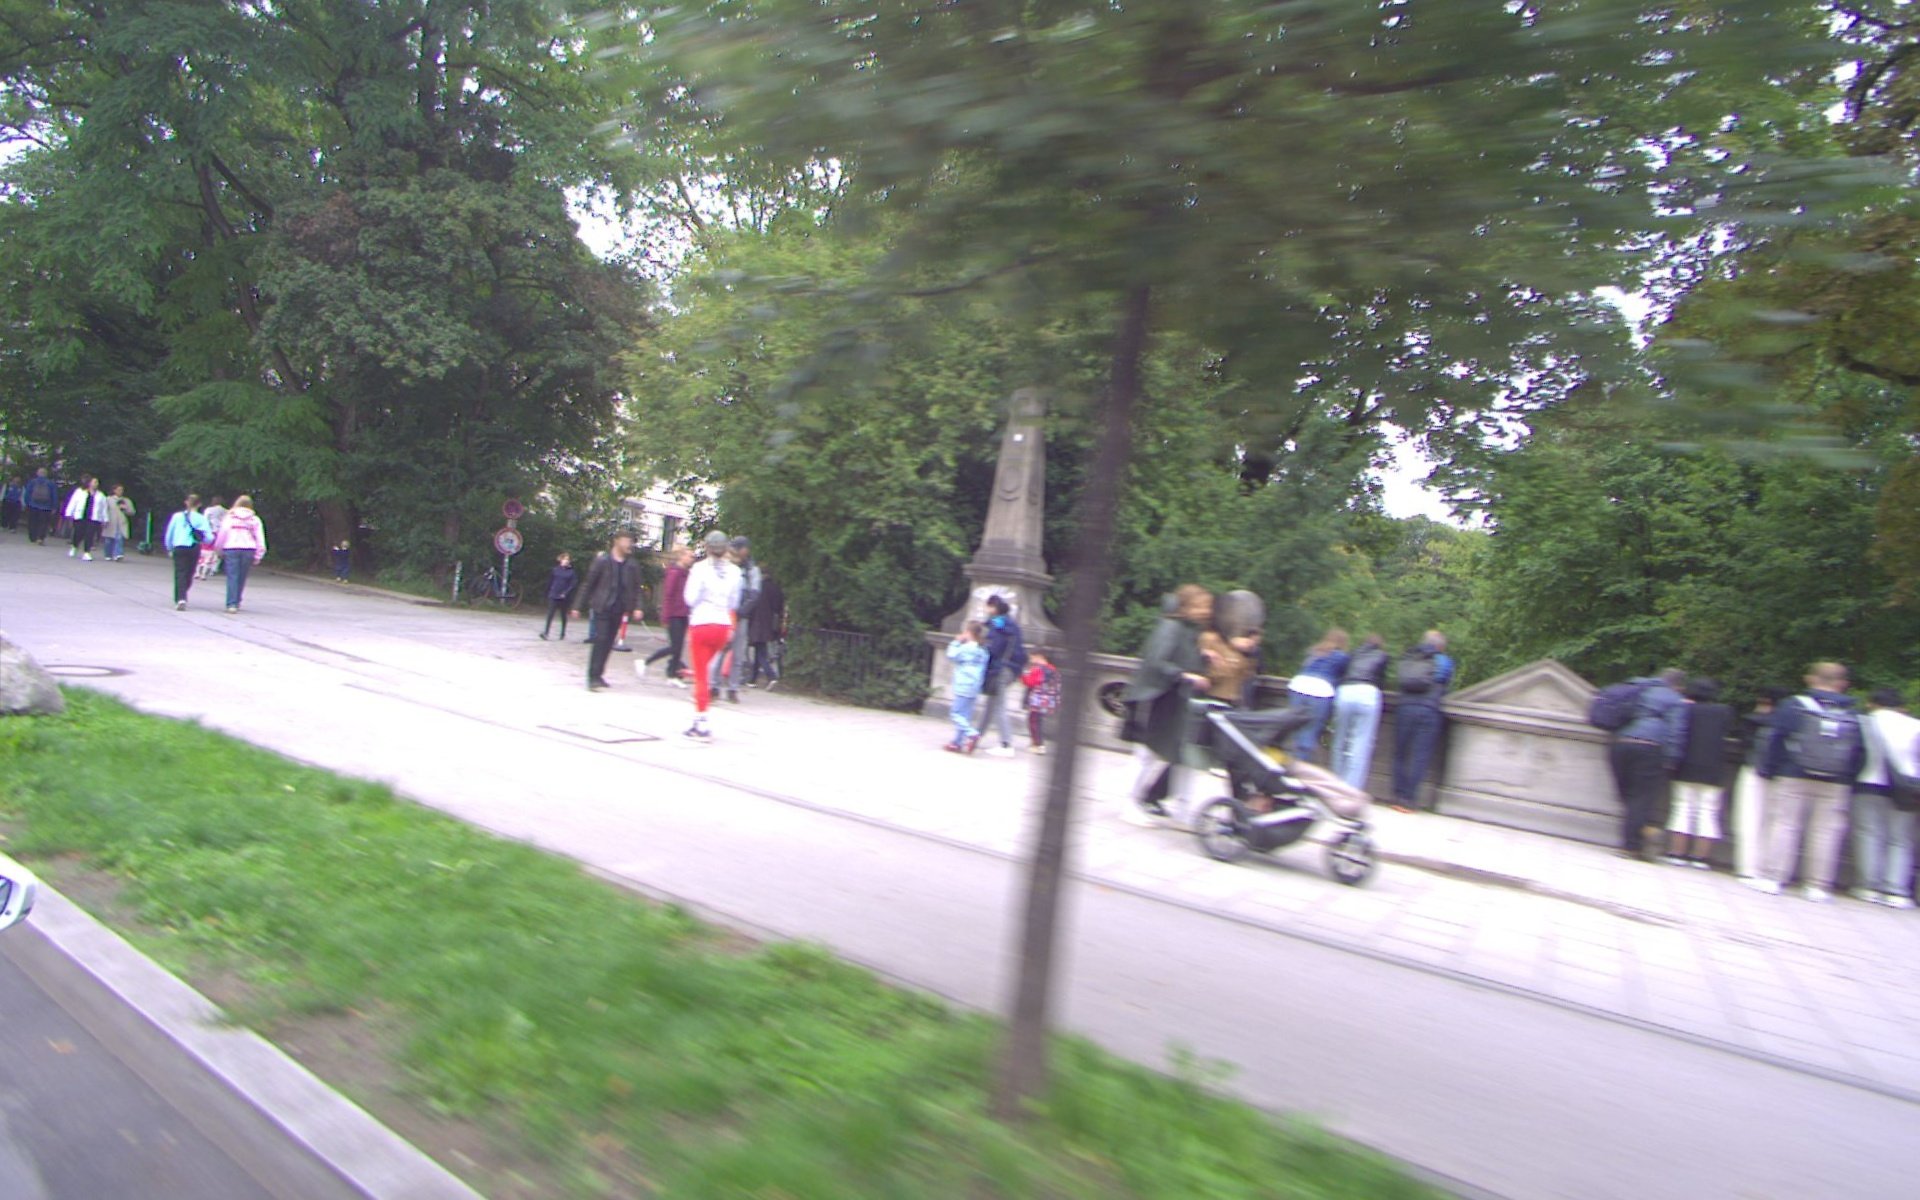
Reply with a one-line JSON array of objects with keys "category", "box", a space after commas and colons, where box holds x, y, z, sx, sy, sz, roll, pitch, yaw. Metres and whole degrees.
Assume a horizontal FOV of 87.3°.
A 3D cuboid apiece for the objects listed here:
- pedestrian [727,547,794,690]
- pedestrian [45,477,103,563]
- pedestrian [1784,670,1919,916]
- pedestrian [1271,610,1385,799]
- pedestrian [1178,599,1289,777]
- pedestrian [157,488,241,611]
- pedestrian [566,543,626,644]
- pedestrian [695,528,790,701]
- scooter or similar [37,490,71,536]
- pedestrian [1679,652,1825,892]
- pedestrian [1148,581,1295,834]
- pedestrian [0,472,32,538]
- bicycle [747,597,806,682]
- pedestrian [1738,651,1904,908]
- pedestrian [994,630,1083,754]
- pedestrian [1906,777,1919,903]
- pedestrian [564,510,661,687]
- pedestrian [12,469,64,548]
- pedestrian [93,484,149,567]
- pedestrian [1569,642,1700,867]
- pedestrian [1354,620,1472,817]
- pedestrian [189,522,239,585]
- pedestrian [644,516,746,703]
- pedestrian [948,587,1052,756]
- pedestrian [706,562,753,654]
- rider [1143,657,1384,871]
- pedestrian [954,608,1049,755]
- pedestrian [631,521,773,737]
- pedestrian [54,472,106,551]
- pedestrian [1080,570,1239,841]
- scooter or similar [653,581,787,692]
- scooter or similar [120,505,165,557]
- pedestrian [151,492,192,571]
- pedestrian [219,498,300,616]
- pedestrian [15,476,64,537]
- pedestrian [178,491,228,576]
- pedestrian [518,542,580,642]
[{"category": "pedestrian", "box": [-2.792, 0.259, 14.151, 0.600, 1.895, 0.693, 7, -1, -3]}, {"category": "pedestrian", "box": [-18.573, -1.677, 21.096, 0.752, 1.663, 0.643, 8, -1, -43]}, {"category": "pedestrian", "box": [7.018, 1.457, 7.822, 0.717, 1.710, 0.813, 7, -1, 35]}, {"category": "pedestrian", "box": [3.645, 1.010, 9.945, 0.717, 1.712, 0.812, 7, 1, 35]}, {"category": "pedestrian", "box": [2.870, 0.912, 10.522, 0.717, 1.710, 0.813, 7, -1, 35]}, {"category": "pedestrian", "box": [-11.167, -0.739, 14.756, 0.752, 1.663, 0.840, 8, -1, -42]}, {"category": "pedestrian", "box": [-6.379, -0.094, 17.645, 0.600, 1.671, 0.693, 7, -1, -1]}, {"category": "pedestrian", "box": [-2.514, 0.165, 11.628, 0.607, 1.895, 0.685, 8, -1, -41]}, {"category": "scooter or similar", "box": [-26.452, -2.533, 29.375, 0.301, 1.239, 0.923, 7, 0, -18]}, {"category": "pedestrian", "box": [6.429, 1.361, 8.218, 0.717, 1.759, 0.813, 7, -1, 35]}, {"category": "pedestrian", "box": [1.941, 0.777, 7.436, 0.638, 1.710, 0.726, 7, -1, 37]}, {"category": "pedestrian", "box": [-27.188, -2.708, 28.772, 0.752, 1.757, 0.840, 8, -1, -42]}, {"category": "bicycle", "box": [-2.911, 0.641, 16.095, 0.384, 1.254, 1.601, 7, -1, 5]}, {"category": "pedestrian", "box": [6.326, 1.288, 7.436, 0.717, 1.710, 0.592, 7, -1, 35]}, {"category": "pedestrian", "box": [0.803, 0.940, 10.308, 0.638, 1.166, 0.458, 7, -1, 37]}, {"category": "pedestrian", "box": [7.634, 1.344, 7.383, 0.717, 1.939, 0.813, 7, -1, 35]}, {"category": "pedestrian", "box": [-3.926, -0.018, 11.349, 0.607, 1.895, 0.685, 8, -1, -41]}, {"category": "pedestrian", "box": [-22.118, -2.177, 24.146, 0.752, 1.757, 0.840, 8, -1, -42]}, {"category": "pedestrian", "box": [-18.137, -1.596, 21.742, 0.752, 1.663, 0.682, 8, -1, -43]}, {"category": "pedestrian", "box": [5.679, 1.259, 8.493, 0.717, 1.712, 0.812, 7, 1, 35]}, {"category": "pedestrian", "box": [4.305, 1.098, 9.542, 0.717, 1.711, 0.812, 7, 0, 35]}, {"category": "pedestrian", "box": [-14.744, -0.922, 19.882, 0.629, 1.150, 0.566, 8, -1, -43]}, {"category": "pedestrian", "box": [-2.887, 0.097, 10.945, 0.607, 1.937, 0.685, 8, -1, -41]}, {"category": "pedestrian", "box": [0.395, 0.699, 9.836, 0.638, 1.545, 0.549, 7, -1, 37]}, {"category": "pedestrian", "box": [-4.561, 0.161, 19.926, 0.600, 1.716, 0.693, 7, -1, -3]}, {"category": "rider", "box": [1.991, 1.030, 6.626, 1.225, 1.125, 0.765, 6, -1, 37]}, {"category": "pedestrian", "box": [0.407, 0.799, 9.877, 0.638, 1.342, 0.458, 7, -1, 37]}, {"category": "pedestrian", "box": [-2.169, 0.254, 8.490, 0.638, 1.710, 0.726, 7, -1, 37]}, {"category": "pedestrian", "box": [-21.790, -2.197, 24.903, 0.836, 1.844, 0.589, 7, -1, 33]}, {"category": "pedestrian", "box": [1.385, 0.707, 6.937, 0.638, 1.710, 0.726, 7, -1, 37]}, {"category": "scooter or similar", "box": [-3.154, 0.493, 13.276, 1.549, 1.271, 0.346, 8, -1, -28]}, {"category": "scooter or similar", "box": [-20.812, -1.759, 25.609, 1.199, 1.213, 0.418, 7, -1, 33]}, {"category": "pedestrian", "box": [-16.600, -1.438, 21.180, 0.483, 1.584, 0.566, 8, -1, -42]}, {"category": "pedestrian", "box": [-10.639, -0.651, 15.271, 0.752, 1.663, 0.840, 8, -1, -42]}, {"category": "pedestrian", "box": [-27.104, -2.751, 29.630, 0.651, 1.657, 0.683, 7, -1, 21]}, {"category": "pedestrian", "box": [-16.023, -1.407, 21.288, 0.629, 1.686, 0.566, 8, -1, -43]}, {"category": "pedestrian", "box": [-7.018, -0.124, 17.210, 0.600, 1.596, 0.693, 7, -1, -3]}]
